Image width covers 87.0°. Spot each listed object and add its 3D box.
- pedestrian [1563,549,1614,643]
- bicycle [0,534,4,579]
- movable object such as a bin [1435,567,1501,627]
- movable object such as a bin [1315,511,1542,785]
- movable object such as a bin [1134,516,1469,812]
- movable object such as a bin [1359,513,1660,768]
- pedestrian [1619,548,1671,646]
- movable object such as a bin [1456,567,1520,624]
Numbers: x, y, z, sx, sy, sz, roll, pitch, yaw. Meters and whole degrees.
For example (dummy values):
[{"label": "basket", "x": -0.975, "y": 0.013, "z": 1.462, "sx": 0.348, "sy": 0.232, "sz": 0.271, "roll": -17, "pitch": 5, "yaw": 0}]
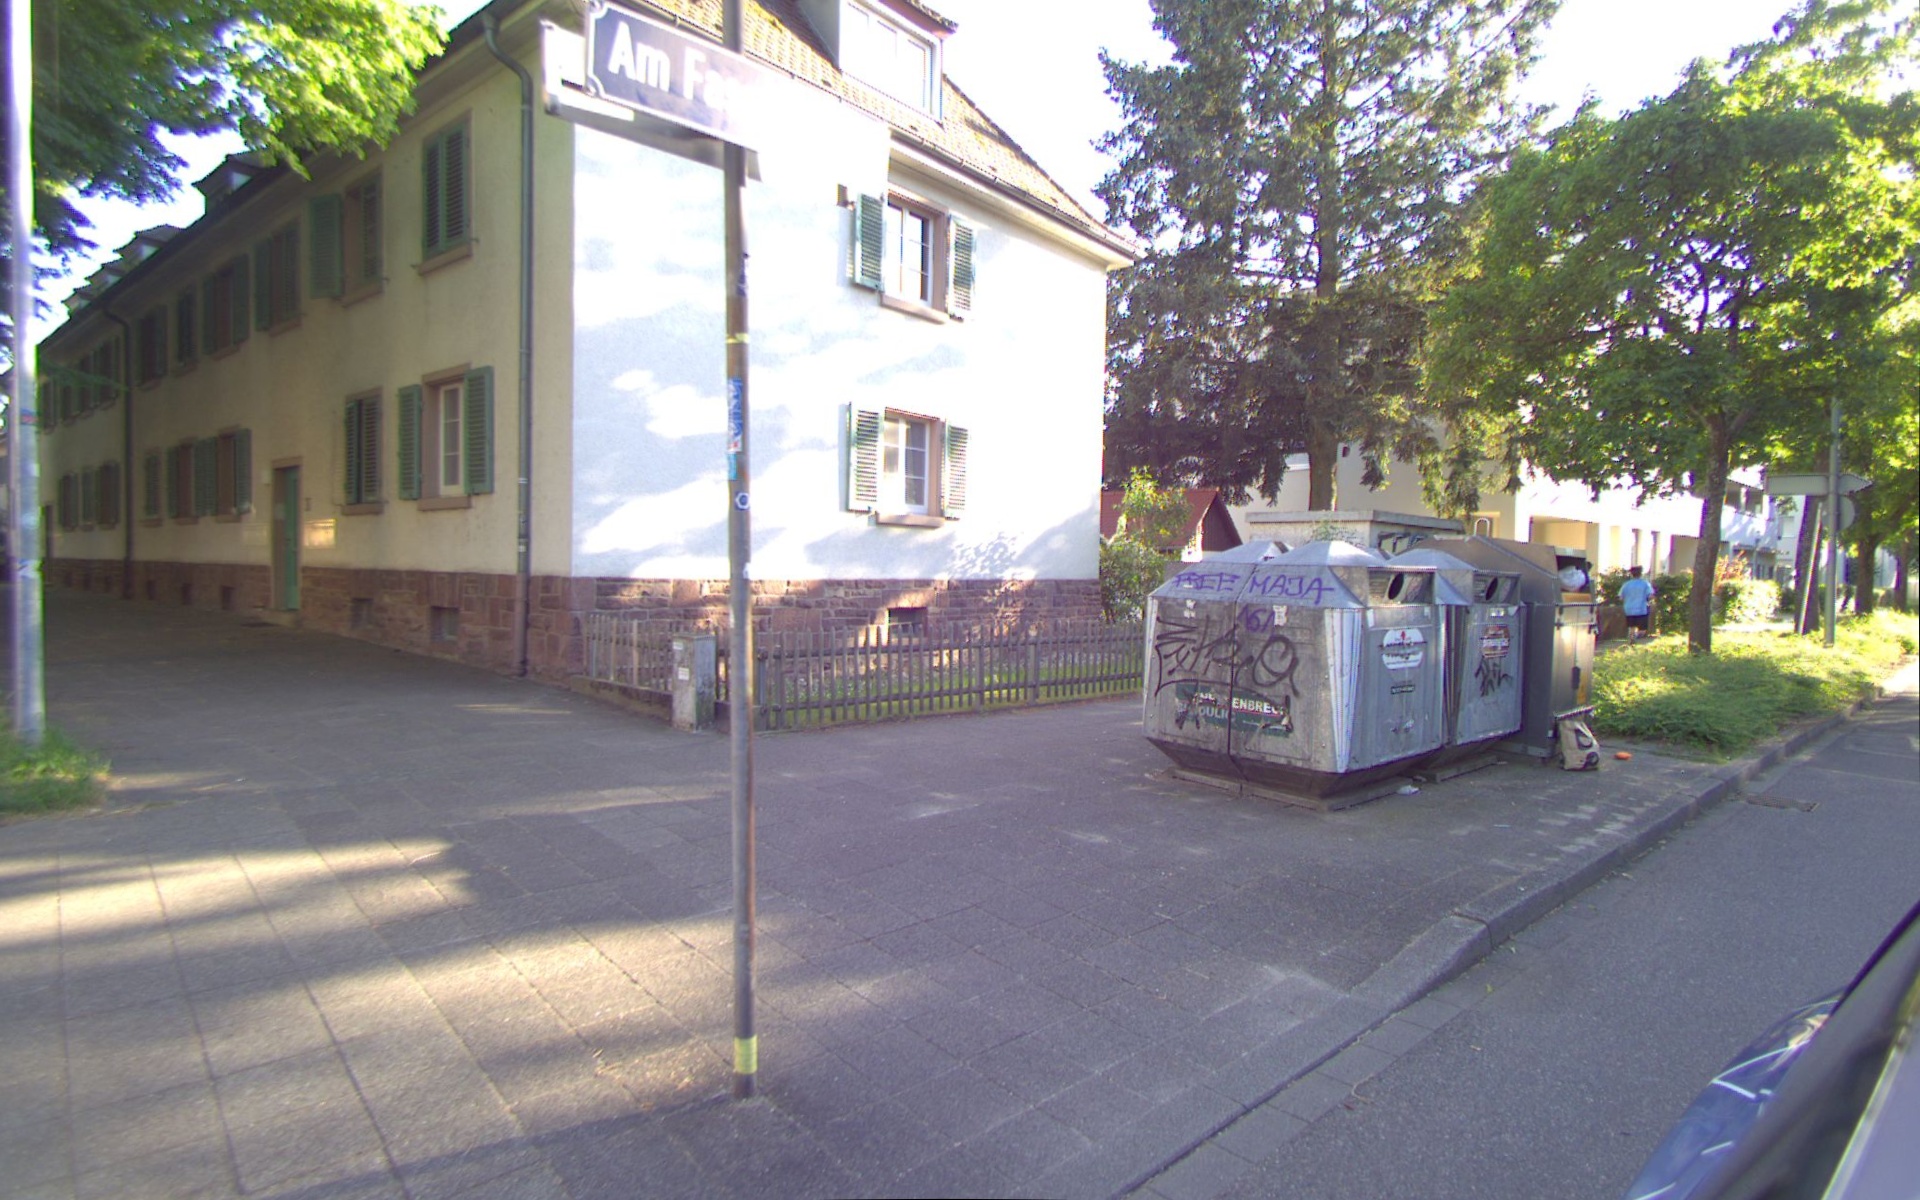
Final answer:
[{"label": "pedestrian", "x": 13.157, "y": -0.094, "z": 21.174, "sx": 1.001, "sy": 1.917, "sz": 0.643, "roll": -1, "pitch": 1, "yaw": -42}, {"label": "bicycle", "x": -31.315, "y": -1.385, "z": 32.139, "sx": 1.985, "sy": 1.416, "sz": 0.795, "roll": 2, "pitch": 2, "yaw": 28}, {"label": "movable object such as a bin", "x": 13.086, "y": -0.106, "z": 26.064, "sx": 1.364, "sy": 1.447, "sz": 1.080, "roll": -1, "pitch": 4, "yaw": -43}, {"label": "movable object such as a bin", "x": 3.582, "y": 0.303, "z": 7.728, "sx": 1.363, "sy": 1.850, "sz": 1.148, "roll": -1, "pitch": 1, "yaw": -43}, {"label": "movable object such as a bin", "x": 2.310, "y": 0.337, "z": 6.871, "sx": 1.612, "sy": 1.678, "sz": 1.588, "roll": -1, "pitch": 1, "yaw": -43}, {"label": "movable object such as a bin", "x": 4.648, "y": 0.268, "z": 8.635, "sx": 1.370, "sy": 1.876, "sz": 1.923, "roll": -1, "pitch": 1, "yaw": -43}, {"label": "pedestrian", "x": 13.782, "y": -0.073, "z": 20.357, "sx": 0.880, "sy": 1.917, "sz": 0.674, "roll": -1, "pitch": 1, "yaw": -42}, {"label": "movable object such as a bin", "x": 14.123, "y": -0.140, "z": 27.064, "sx": 1.343, "sy": 1.444, "sz": 1.080, "roll": -1, "pitch": 4, "yaw": -43}]
